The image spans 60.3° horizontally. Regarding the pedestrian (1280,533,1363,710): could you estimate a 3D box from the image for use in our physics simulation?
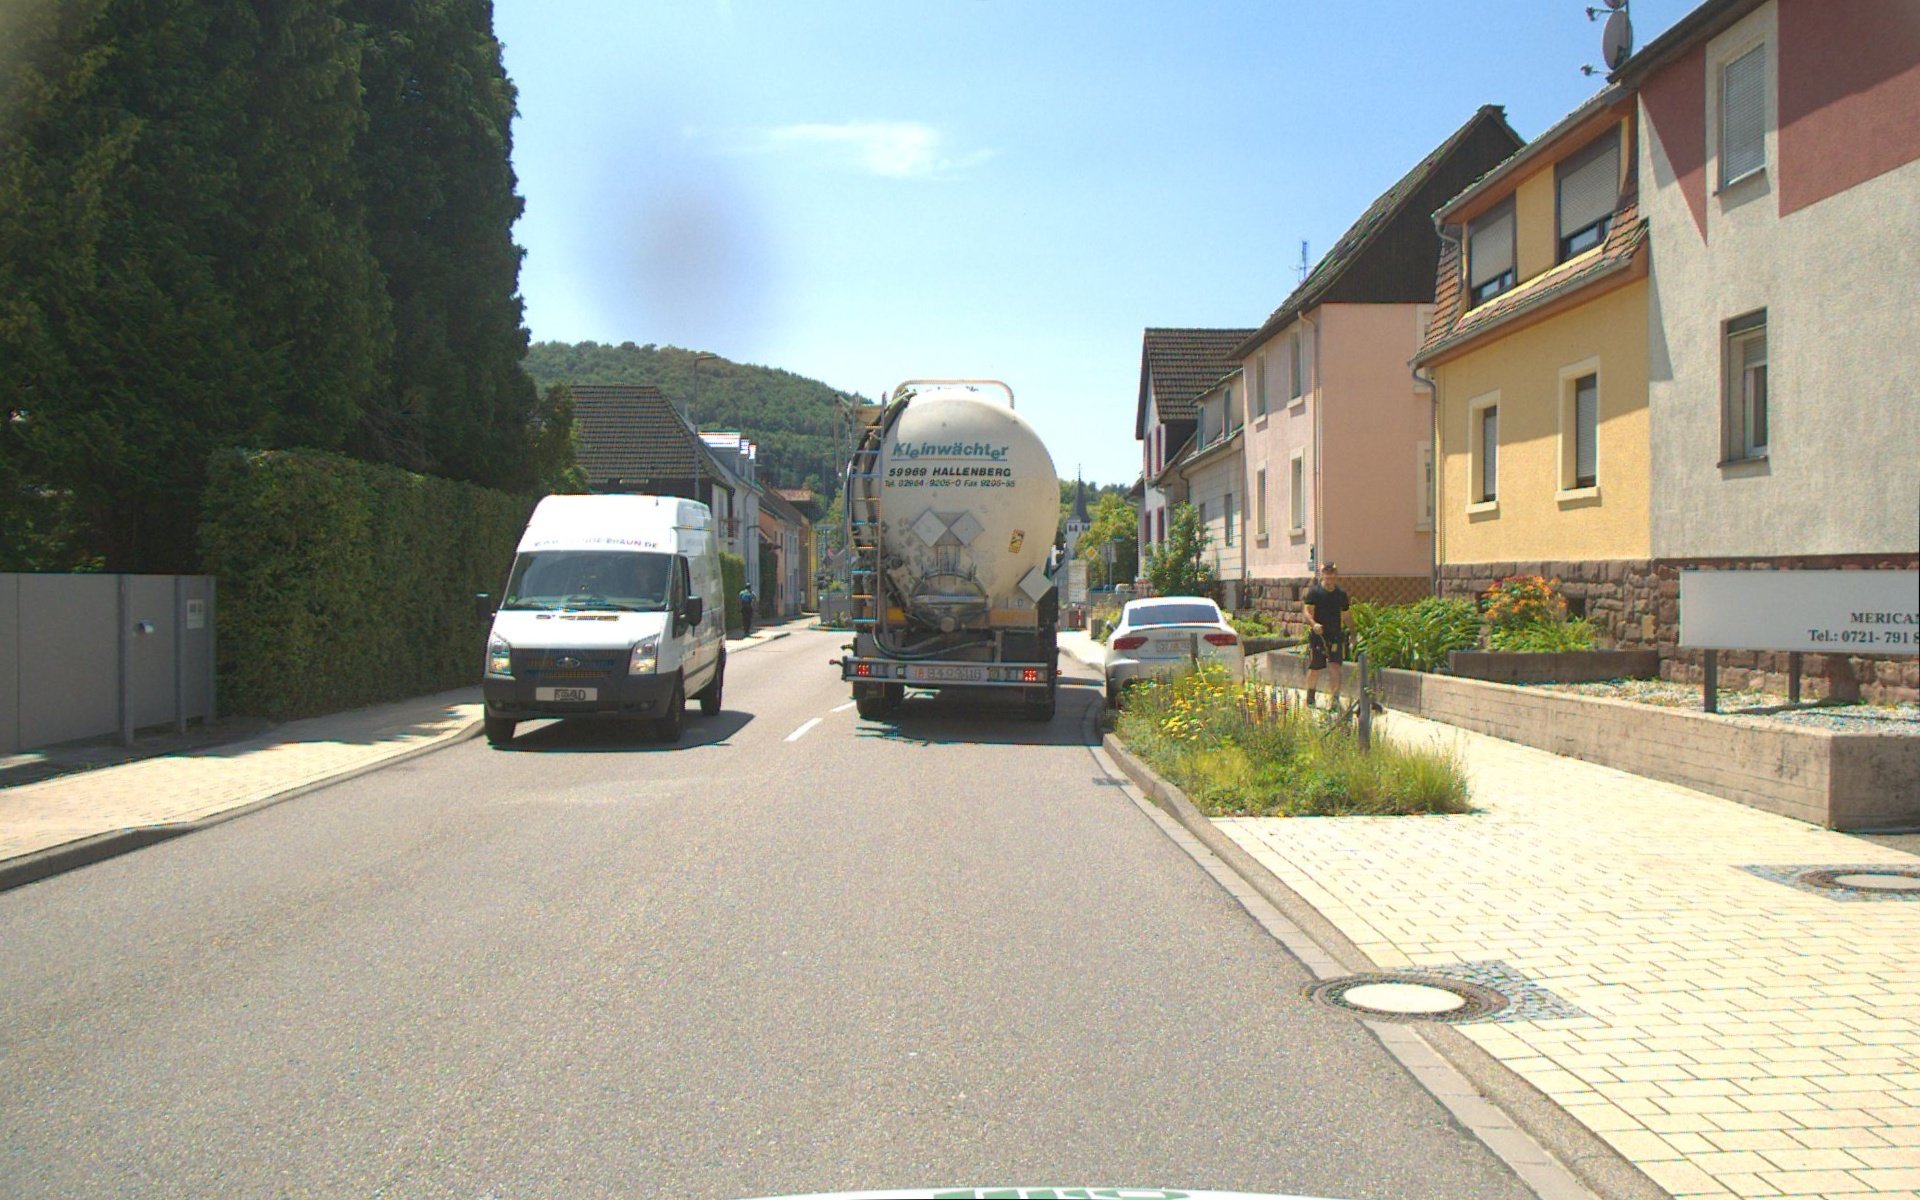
[{"bbox_3d":[4.322,0.255,19.824,0.731,2.049,1.033,1,-1,0],"label":"pedestrian"}]

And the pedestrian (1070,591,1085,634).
[{"bbox_3d":[4.751,0.516,67.009,0.559,1.723,0.721,1,-1,3],"label":"pedestrian"}]

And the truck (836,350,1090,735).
[{"bbox_3d":[-0.139,-0.630,23.345,2.695,4.128,10.885,1,0,-2],"label":"truck"}]

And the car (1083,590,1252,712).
[{"bbox_3d":[2.731,0.674,22.700,1.720,1.443,4.632,-2,-1,0],"label":"car"}]

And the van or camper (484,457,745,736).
[{"bbox_3d":[-3.835,0.002,19.442,1.996,2.761,5.821,-1,-1,-2],"label":"van or camper"}]

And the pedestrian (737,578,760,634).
[{"bbox_3d":[-7.081,0.205,55.408,0.698,1.855,0.897,2,-1,-5],"label":"pedestrian"}]
